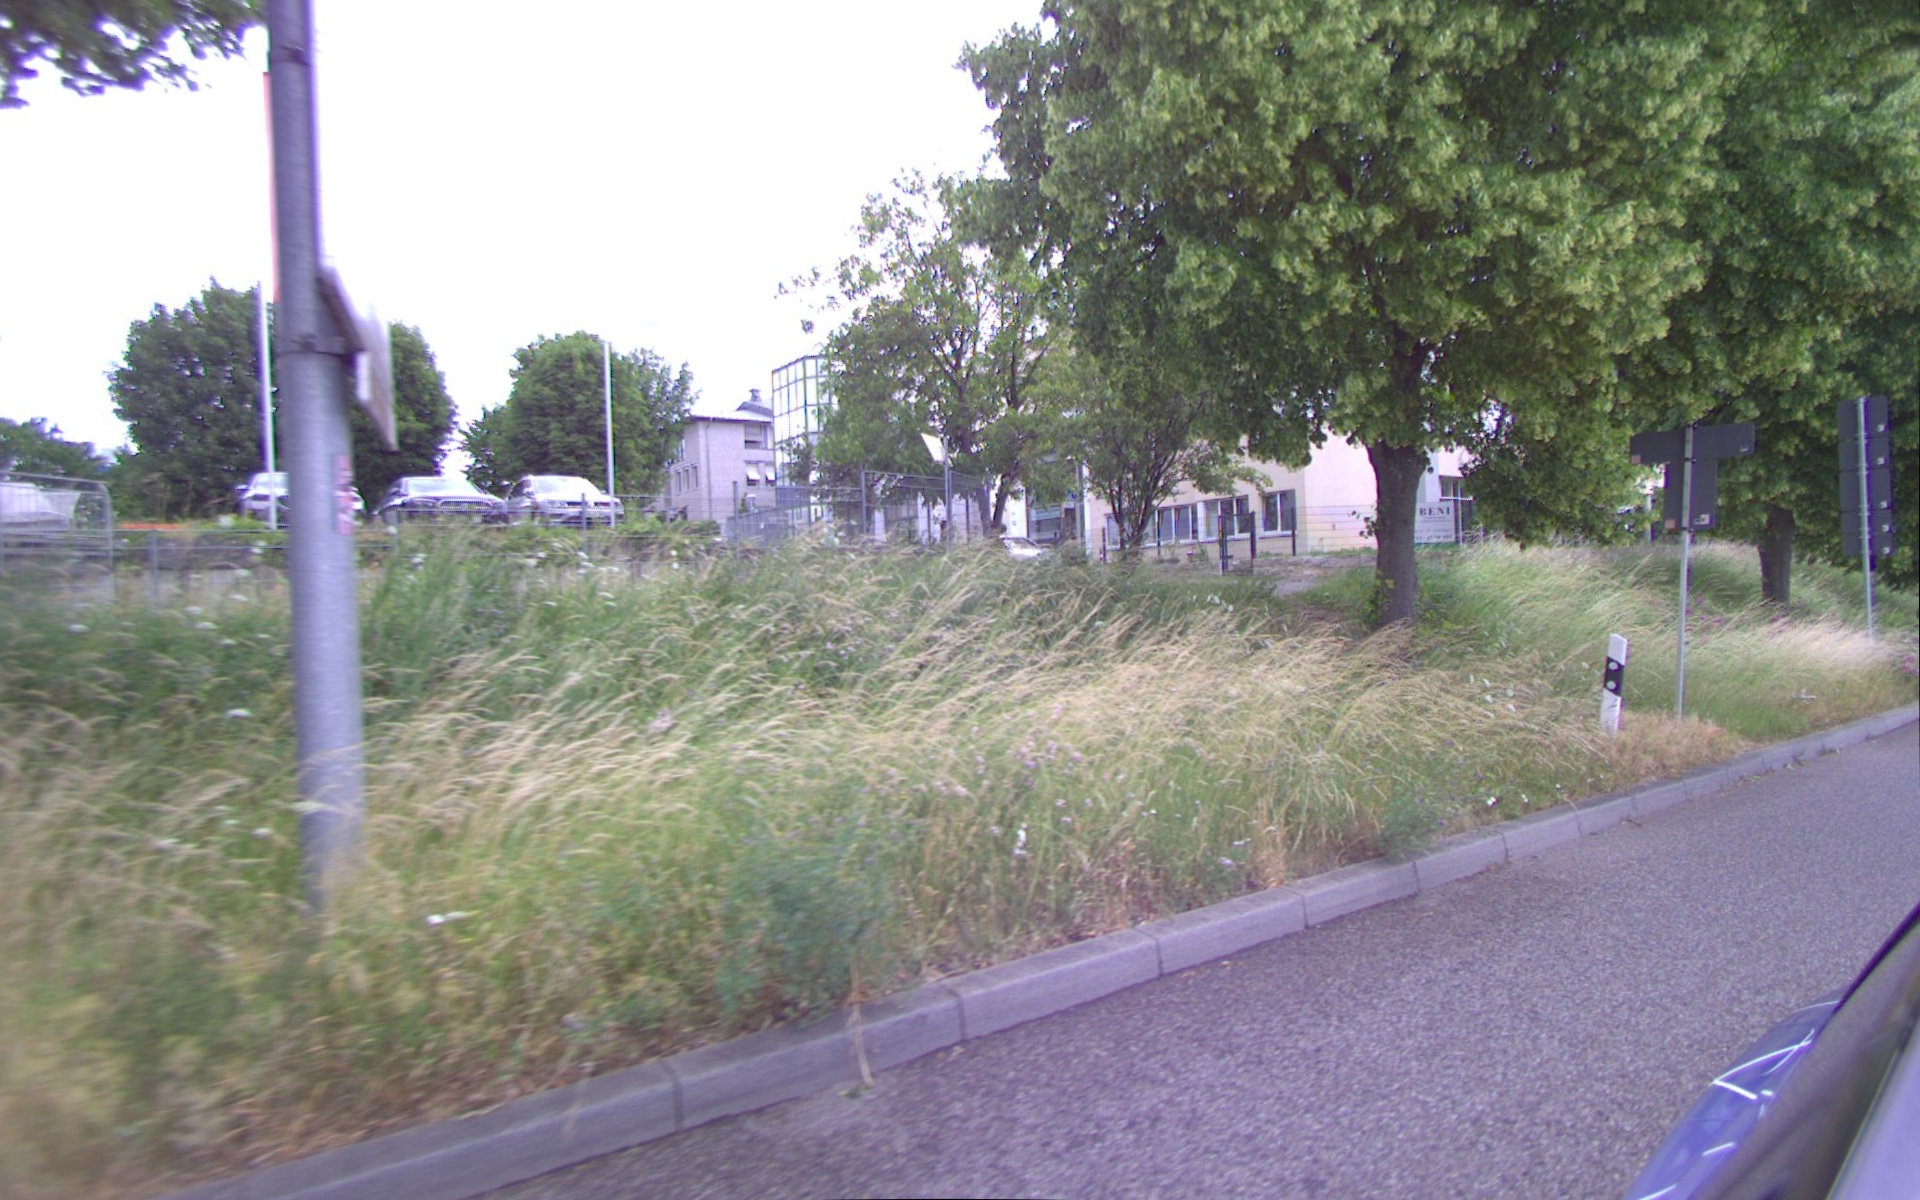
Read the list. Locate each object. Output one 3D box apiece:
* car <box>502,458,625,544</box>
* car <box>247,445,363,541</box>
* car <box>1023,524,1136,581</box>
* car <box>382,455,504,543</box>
[{"bbox_3d":[-9.087,-2.173,23.040,1.722,1.501,3.938,0,-1,-35],"label":"car"},{"bbox_3d":[-12.661,-1.958,19.476,1.722,1.381,3.766,0,-1,-35],"label":"car"},{"bbox_3d":[3.496,-1.368,30.101,1.546,1.529,3.371,0,0,-32],"label":"car"},{"bbox_3d":[-10.713,-1.979,20.838,1.722,1.385,3.938,0,0,-35],"label":"car"}]
